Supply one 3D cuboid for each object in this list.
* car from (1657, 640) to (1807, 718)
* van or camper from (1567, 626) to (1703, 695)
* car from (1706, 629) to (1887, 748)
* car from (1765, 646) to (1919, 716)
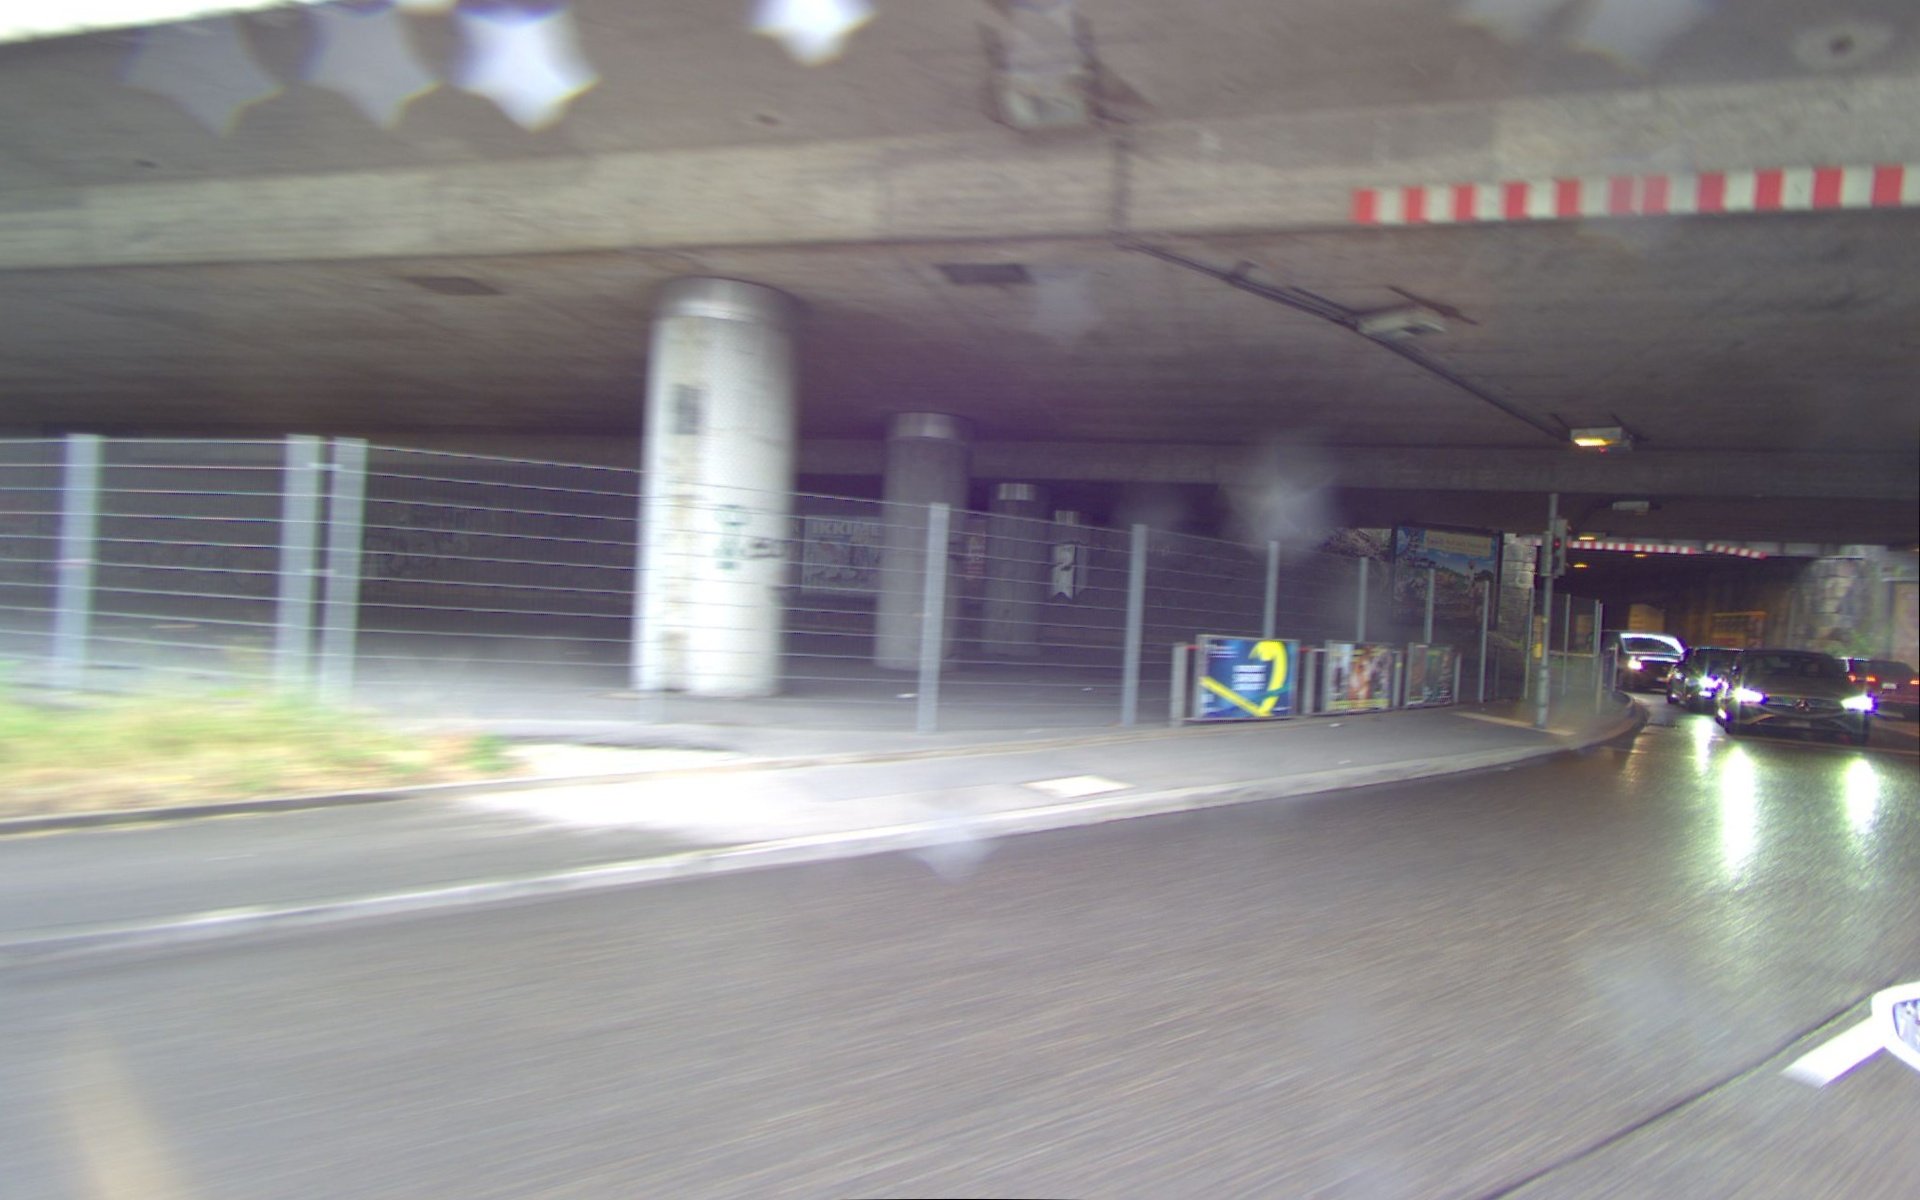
[{"bbox_3d":[17.317,1.710,22.750,1.963,1.484,4.100,2,-1,28],"label":"car"},{"bbox_3d":[21.114,1.826,31.689,1.960,1.893,5.142,3,-1,15],"label":"van or camper"},{"bbox_3d":[14.289,1.394,17.422,1.967,1.550,4.485,3,2,35],"label":"car"},{"bbox_3d":[22.237,1.978,25.320,1.806,1.457,4.103,3,0,21],"label":"car"}]
